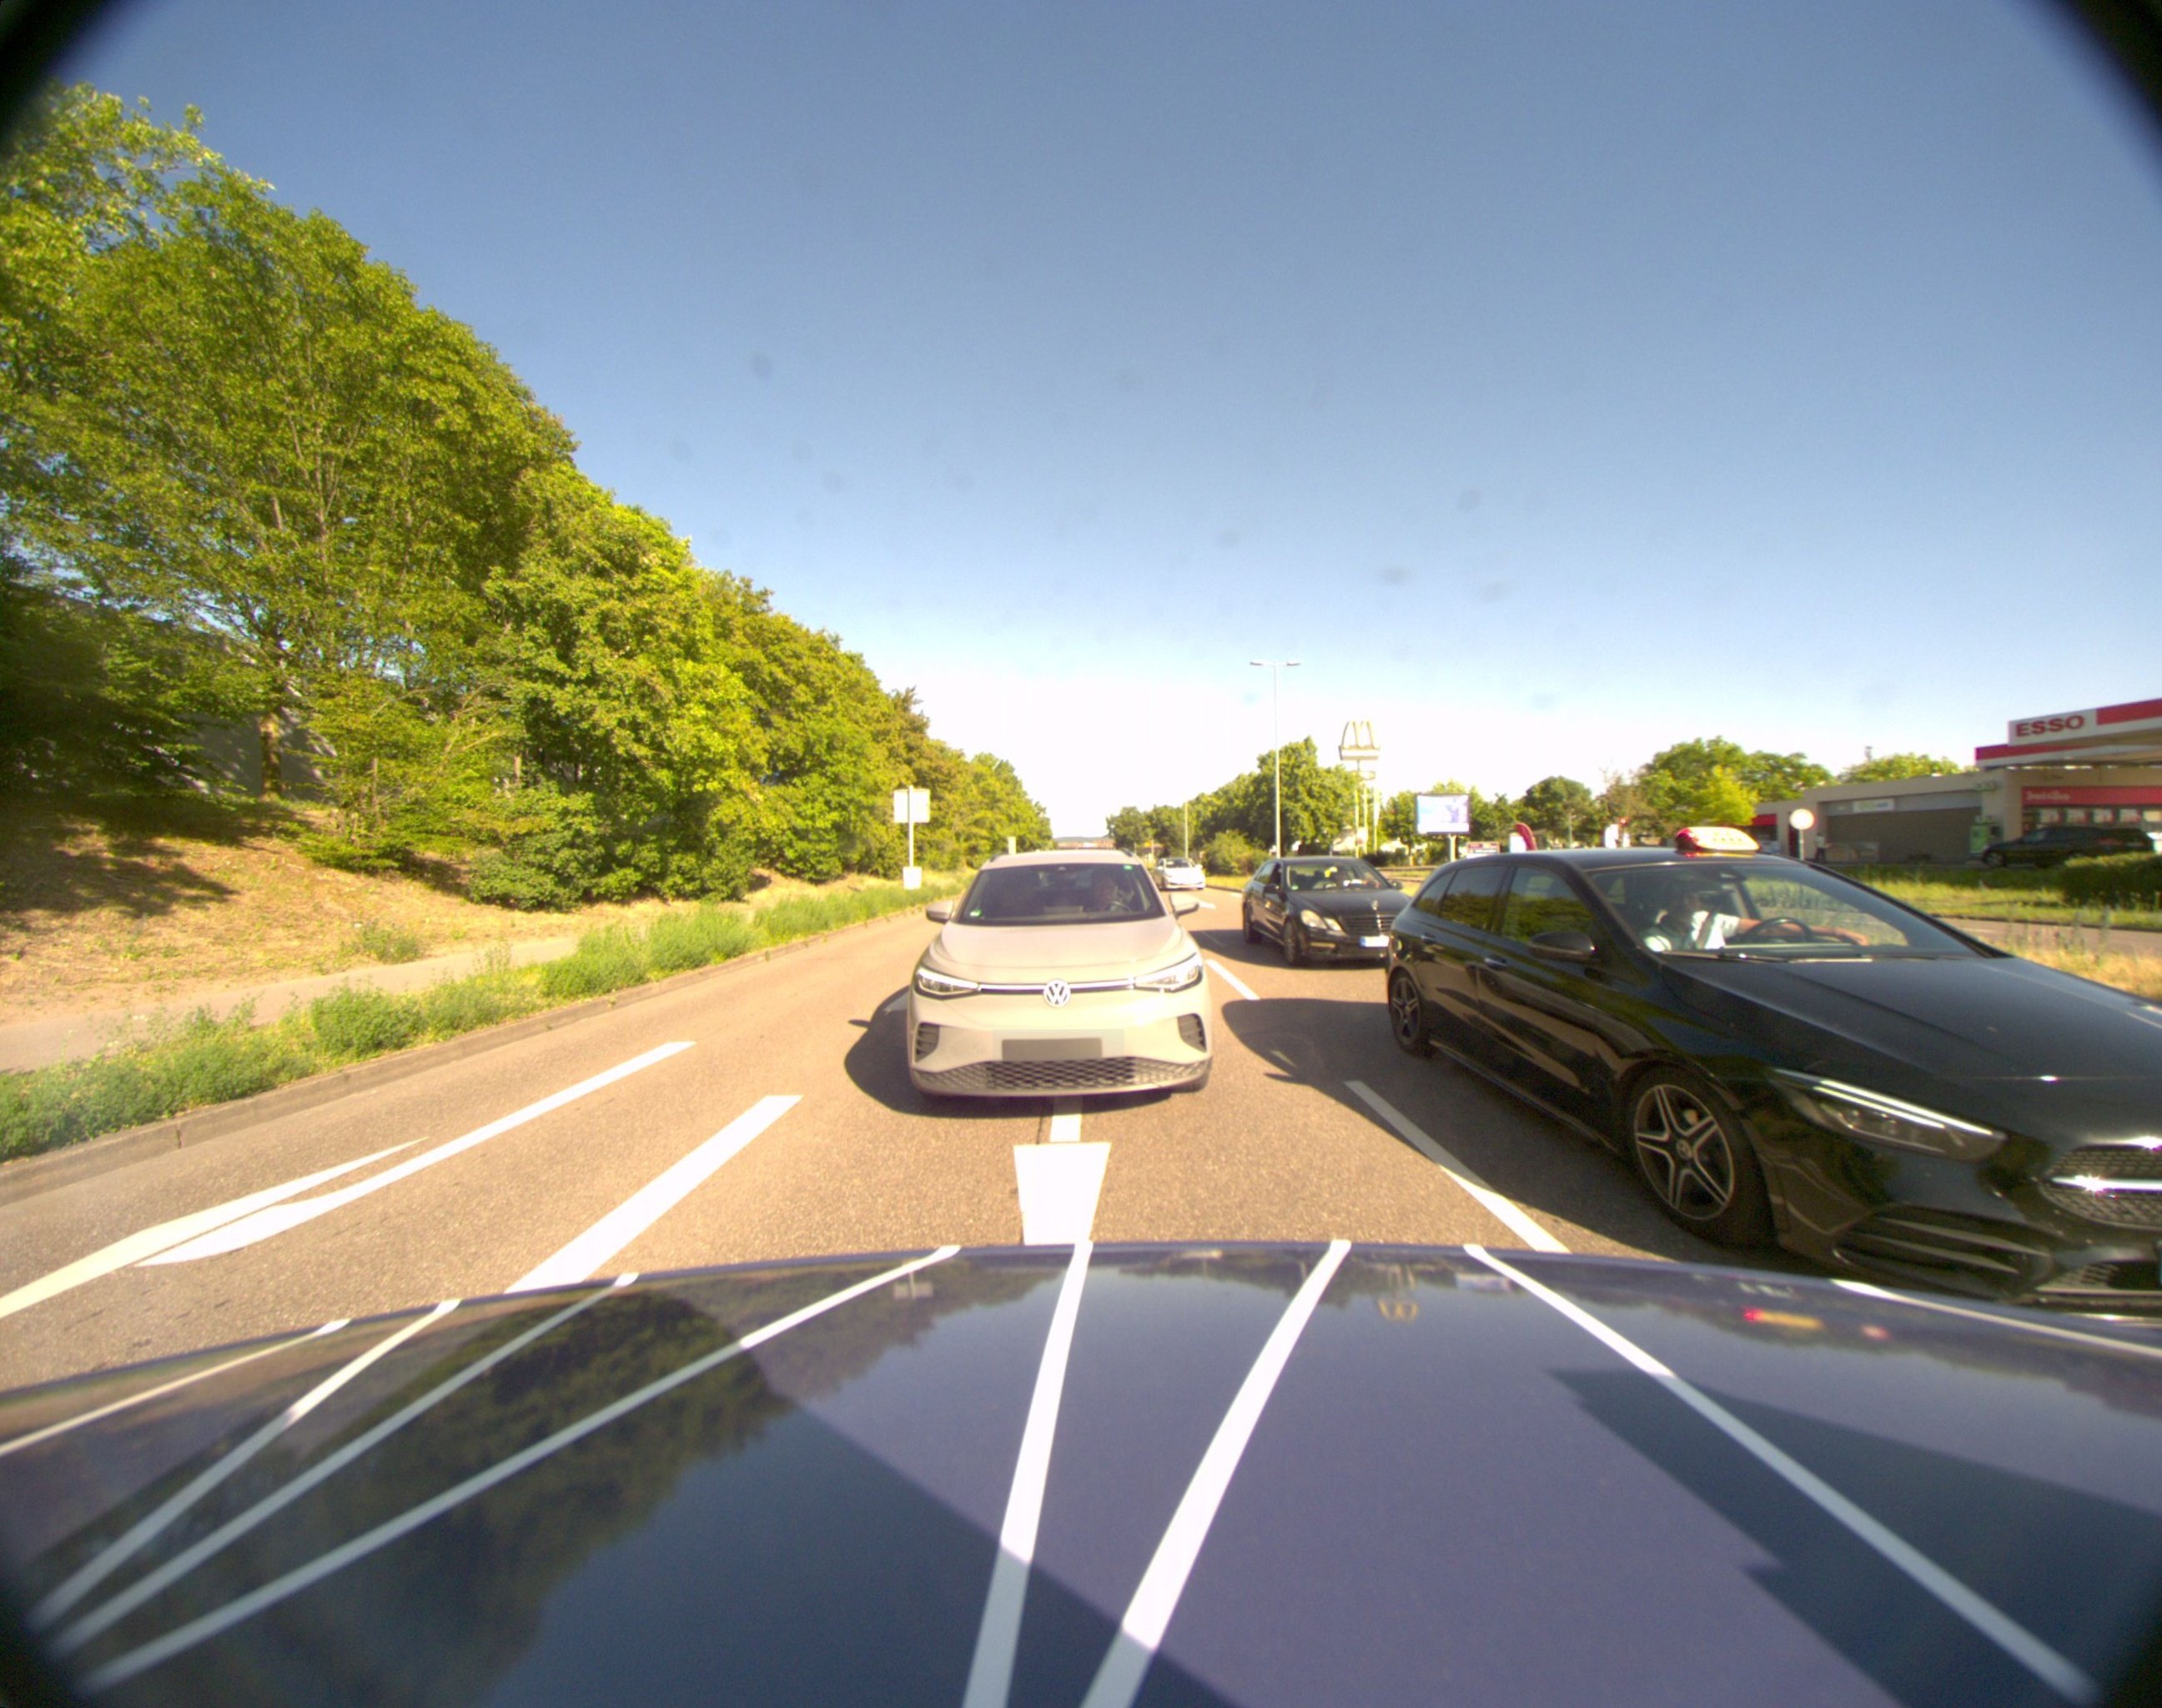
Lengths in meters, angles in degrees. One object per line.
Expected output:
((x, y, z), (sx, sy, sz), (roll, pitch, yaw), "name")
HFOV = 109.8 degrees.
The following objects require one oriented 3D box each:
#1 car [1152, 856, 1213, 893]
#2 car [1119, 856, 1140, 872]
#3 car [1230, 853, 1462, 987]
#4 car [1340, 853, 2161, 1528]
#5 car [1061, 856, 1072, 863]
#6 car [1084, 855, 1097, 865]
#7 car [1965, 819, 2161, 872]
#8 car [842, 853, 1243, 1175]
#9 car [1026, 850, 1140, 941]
((4.475, 0.882, 34.150), (1.999, 1.434, 3.998), (-2, 1, -3), "car")
((4.847, 0.997, 76.925), (1.998, 1.433, 4.001), (-1, 0, 2), "car")
((3.668, 0.806, 11.485), (1.953, 1.501, 4.462), (-2, 1, 1), "car")
((3.105, 0.816, 4.134), (1.788, 1.592, 4.583), (-2, 0, 0), "car")
((-2.967, 1.122, 152.836), (1.998, 1.433, 4.000), (-1, 0, 0), "car")
((1.494, 0.920, 120.076), (1.998, 1.433, 4.000), (-1, 0, 0), "car")
((36.282, -0.301, 28.251), (1.807, 1.716, 4.322), (-4, 0, 2), "car")
((-0.173, 0.837, 5.996), (2.025, 1.601, 4.098), (-2, 0, 1), "car")
((0.069, 0.762, 16.051), (2.036, 1.601, 4.098), (-2, 0, 1), "car")
